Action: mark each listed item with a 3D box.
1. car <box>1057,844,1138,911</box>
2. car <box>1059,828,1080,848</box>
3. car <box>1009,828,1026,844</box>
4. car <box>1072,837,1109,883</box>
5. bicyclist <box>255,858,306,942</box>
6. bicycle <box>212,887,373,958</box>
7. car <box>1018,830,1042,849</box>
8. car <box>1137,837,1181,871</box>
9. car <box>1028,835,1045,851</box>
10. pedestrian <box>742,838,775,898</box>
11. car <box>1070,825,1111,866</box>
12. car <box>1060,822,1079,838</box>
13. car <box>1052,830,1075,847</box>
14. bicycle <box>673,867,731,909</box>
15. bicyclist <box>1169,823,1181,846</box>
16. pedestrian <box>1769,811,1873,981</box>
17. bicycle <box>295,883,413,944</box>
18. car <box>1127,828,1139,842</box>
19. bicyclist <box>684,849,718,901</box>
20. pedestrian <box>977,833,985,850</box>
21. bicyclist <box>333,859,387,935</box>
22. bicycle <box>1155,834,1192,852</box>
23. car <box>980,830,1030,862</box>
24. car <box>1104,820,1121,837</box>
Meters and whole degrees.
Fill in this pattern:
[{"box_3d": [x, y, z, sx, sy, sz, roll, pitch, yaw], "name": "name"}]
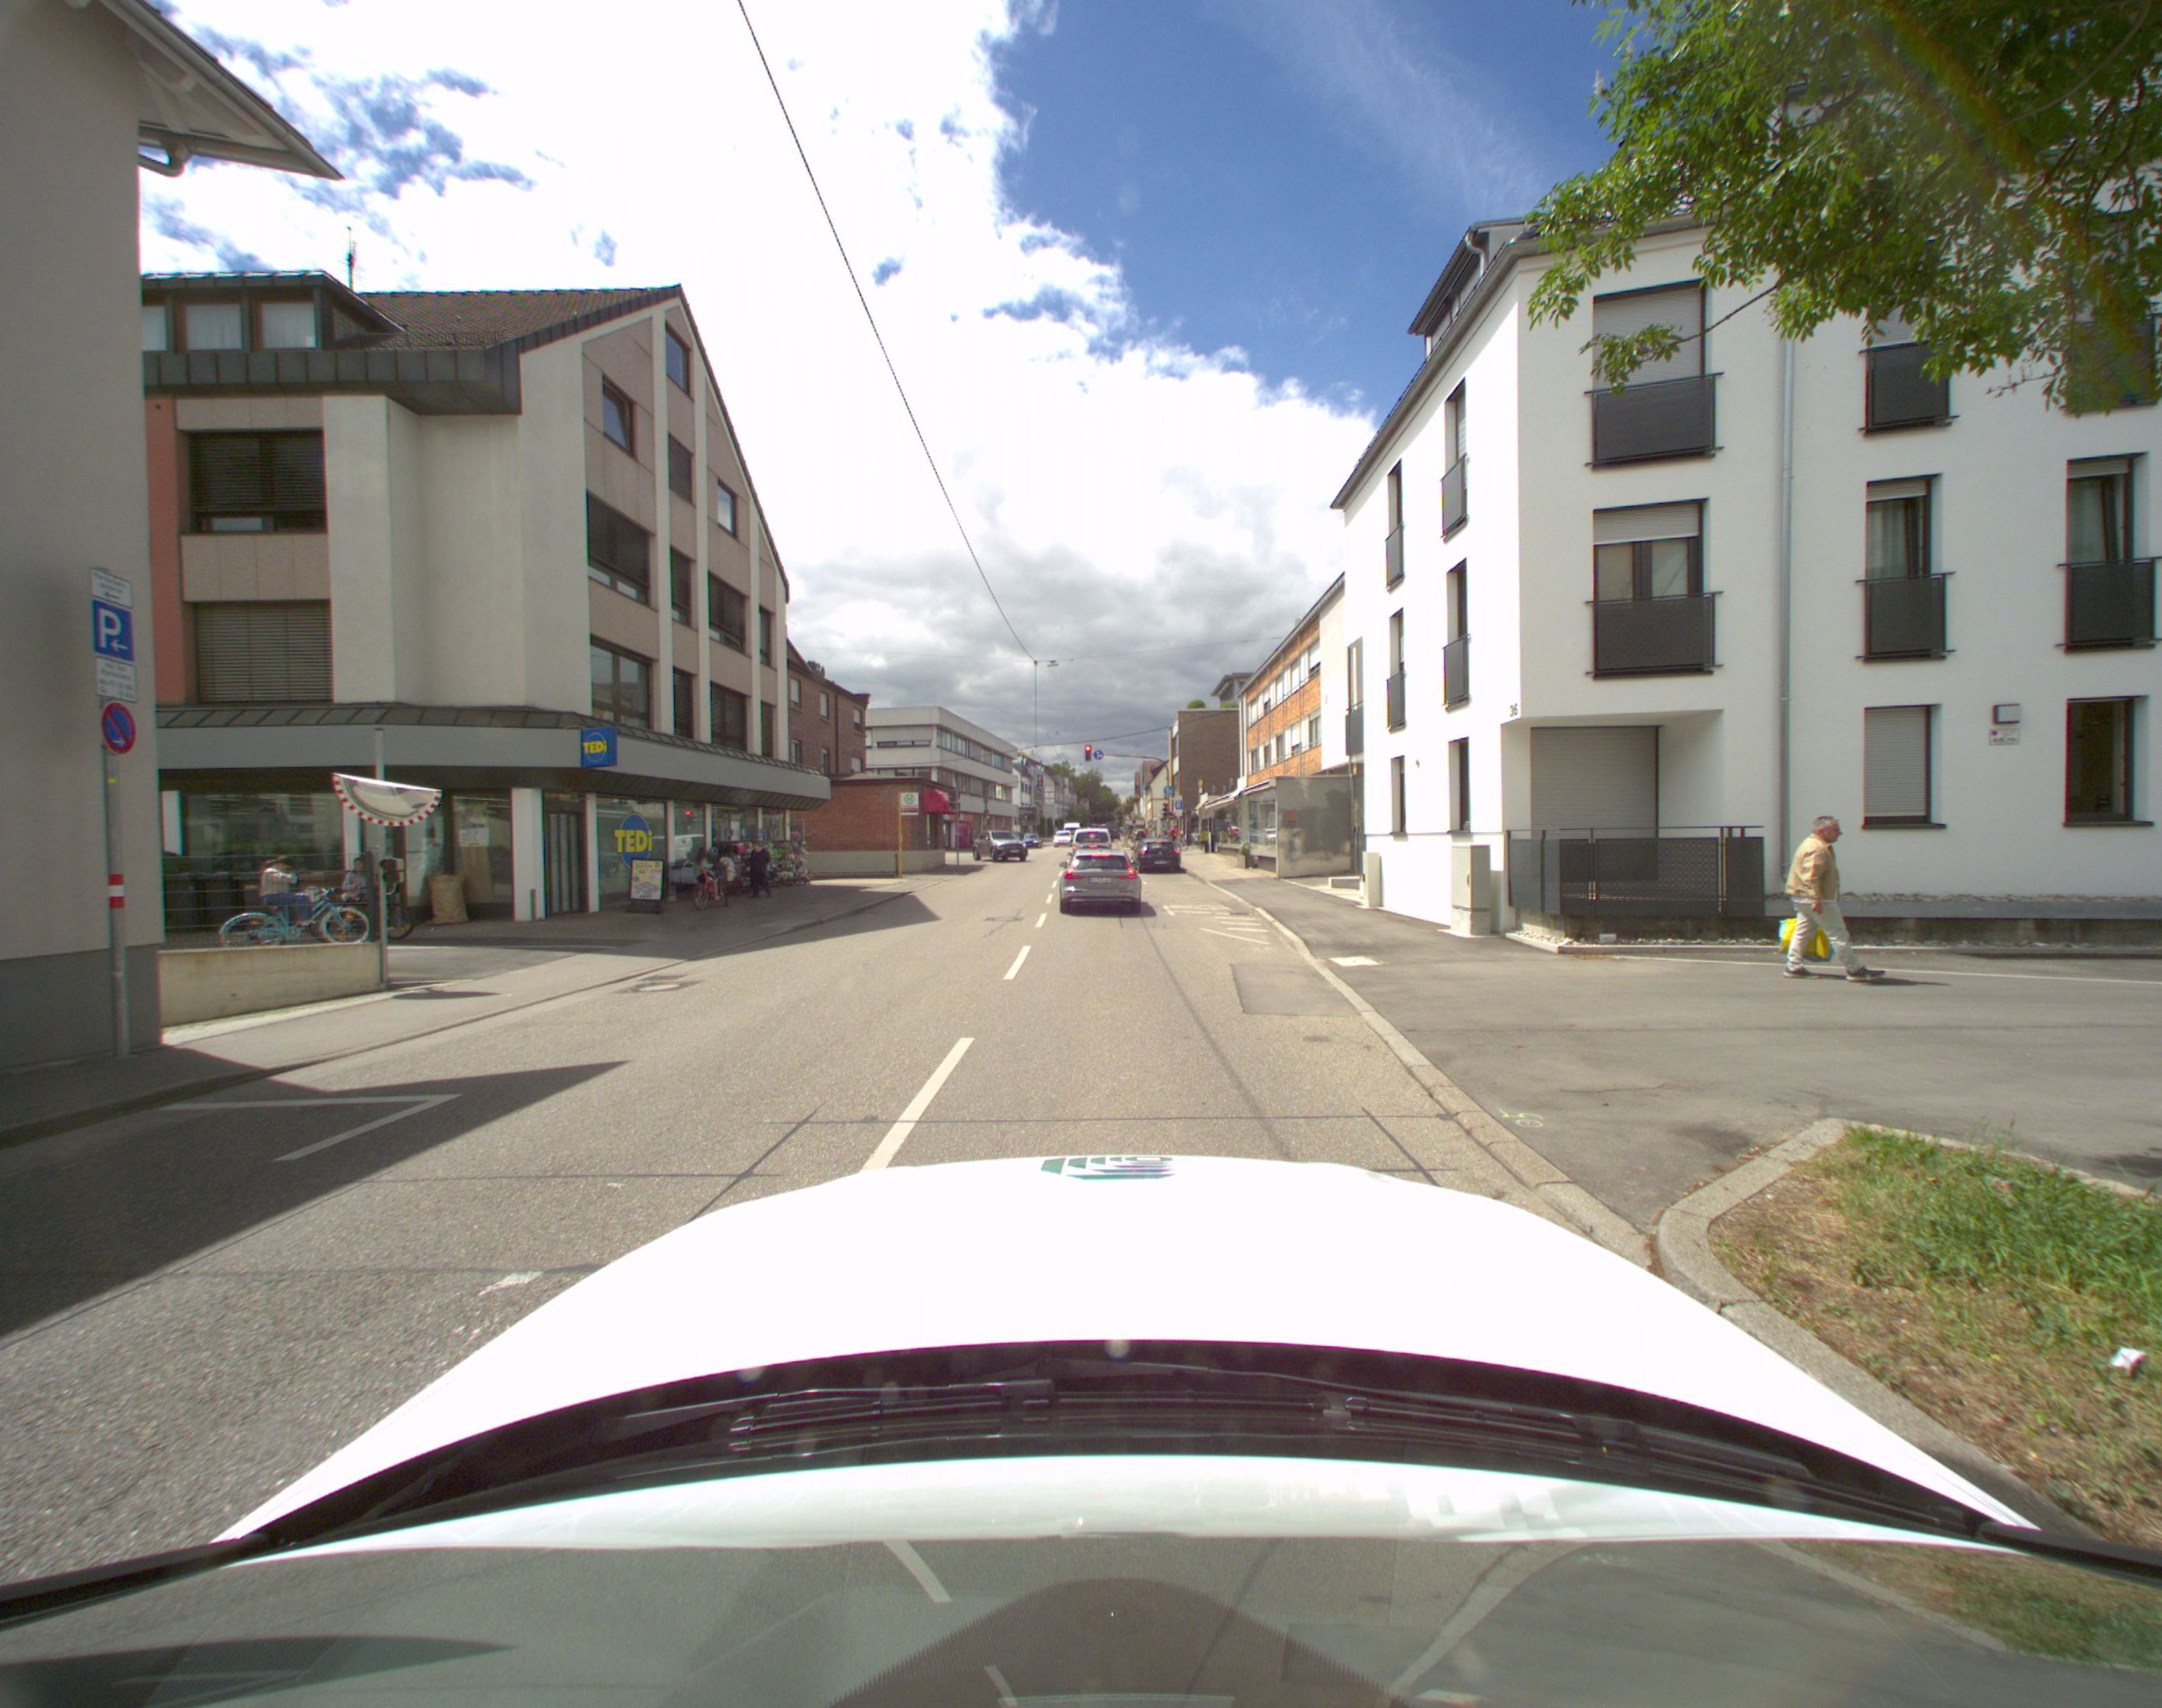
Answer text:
[{"box_3d": [0.427, 0.525, 19.702, 1.737, 1.417, 4.002, -1, 0, 2], "name": "car"}, {"box_3d": [-1.237, -1.707, 89.078, 1.986, 2.014, 4.002, 1, -1, 2], "name": "car"}, {"box_3d": [-6.575, -1.814, 84.285, 1.379, 1.541, 3.400, -1, -1, 2], "name": "car"}, {"box_3d": [0.380, 0.174, 29.987, 1.269, 1.527, 3.052, -1, 2, 1], "name": "car"}, {"box_3d": [-11.575, 0.655, 11.780, 0.392, 1.181, 0.502, 0, 0, 42], "name": "bicyclist"}, {"box_3d": [-11.462, 0.969, 11.895, 0.299, 0.896, 1.663, -1, 0, 42], "name": "bicycle"}, {"box_3d": [-4.900, -1.382, 78.718, 1.865, 1.640, 4.003, 1, -1, 3], "name": "car"}, {"box_3d": [3.329, -0.034, 35.285, 1.745, 1.371, 4.004, -1, 1, 3], "name": "car"}, {"box_3d": [-5.633, -1.374, 103.748, 1.987, 2.014, 3.999, 1, -1, 0], "name": "car"}, {"box_3d": [-8.733, 0.379, 22.091, 0.624, 1.602, 0.564, 0, -1, 9], "name": "pedestrian"}, {"box_3d": [0.507, -0.353, 39.011, 1.829, 1.862, 3.852, 0, 0, 2], "name": "car"}, {"box_3d": [-1.288, -2.838, 96.480, 1.864, 1.640, 4.004, -1, -1, 4], "name": "car"}, {"box_3d": [-1.740, -1.529, 82.111, 1.864, 1.640, 4.004, 1, -1, 4], "name": "car"}, {"box_3d": [-8.775, 0.775, 18.918, 0.465, 0.861, 1.778, 1, 1, 2], "name": "bicycle"}, {"box_3d": [6.383, -1.325, 55.438, 0.768, 1.606, 0.581, 0, -1, 5], "name": "bicyclist"}, {"box_3d": [7.533, 0.410, 8.329, 0.608, 1.647, 0.744, -2, -1, 32], "name": "pedestrian"}, {"box_3d": [-11.420, 0.930, 12.812, 1.546, 0.896, 0.303, -1, 0, -1], "name": "bicycle"}, {"box_3d": [8.408, -3.054, 132.918, 1.795, 2.014, 4.002, -1, -1, 2], "name": "car"}, {"box_3d": [-8.766, 0.476, 18.795, 0.456, 1.179, 0.625, -1, 0, 2], "name": "bicyclist"}, {"box_3d": [-8.826, -1.107, 71.837, 0.510, 1.436, 0.491, -1, 0, 12], "name": "pedestrian"}, {"box_3d": [-11.359, 0.665, 12.832, 0.496, 1.181, 0.397, 0, 0, 1], "name": "bicyclist"}, {"box_3d": [6.304, -0.760, 55.409, 2.512, 1.174, 0.586, 1, 0, 5], "name": "bicycle"}, {"box_3d": [-4.375, -0.413, 46.505, 1.845, 1.726, 4.323, -1, 0, -19], "name": "car"}, {"box_3d": [4.588, -3.662, 119.497, 2.427, 2.318, 5.328, 1, 0, 2], "name": "car"}]
